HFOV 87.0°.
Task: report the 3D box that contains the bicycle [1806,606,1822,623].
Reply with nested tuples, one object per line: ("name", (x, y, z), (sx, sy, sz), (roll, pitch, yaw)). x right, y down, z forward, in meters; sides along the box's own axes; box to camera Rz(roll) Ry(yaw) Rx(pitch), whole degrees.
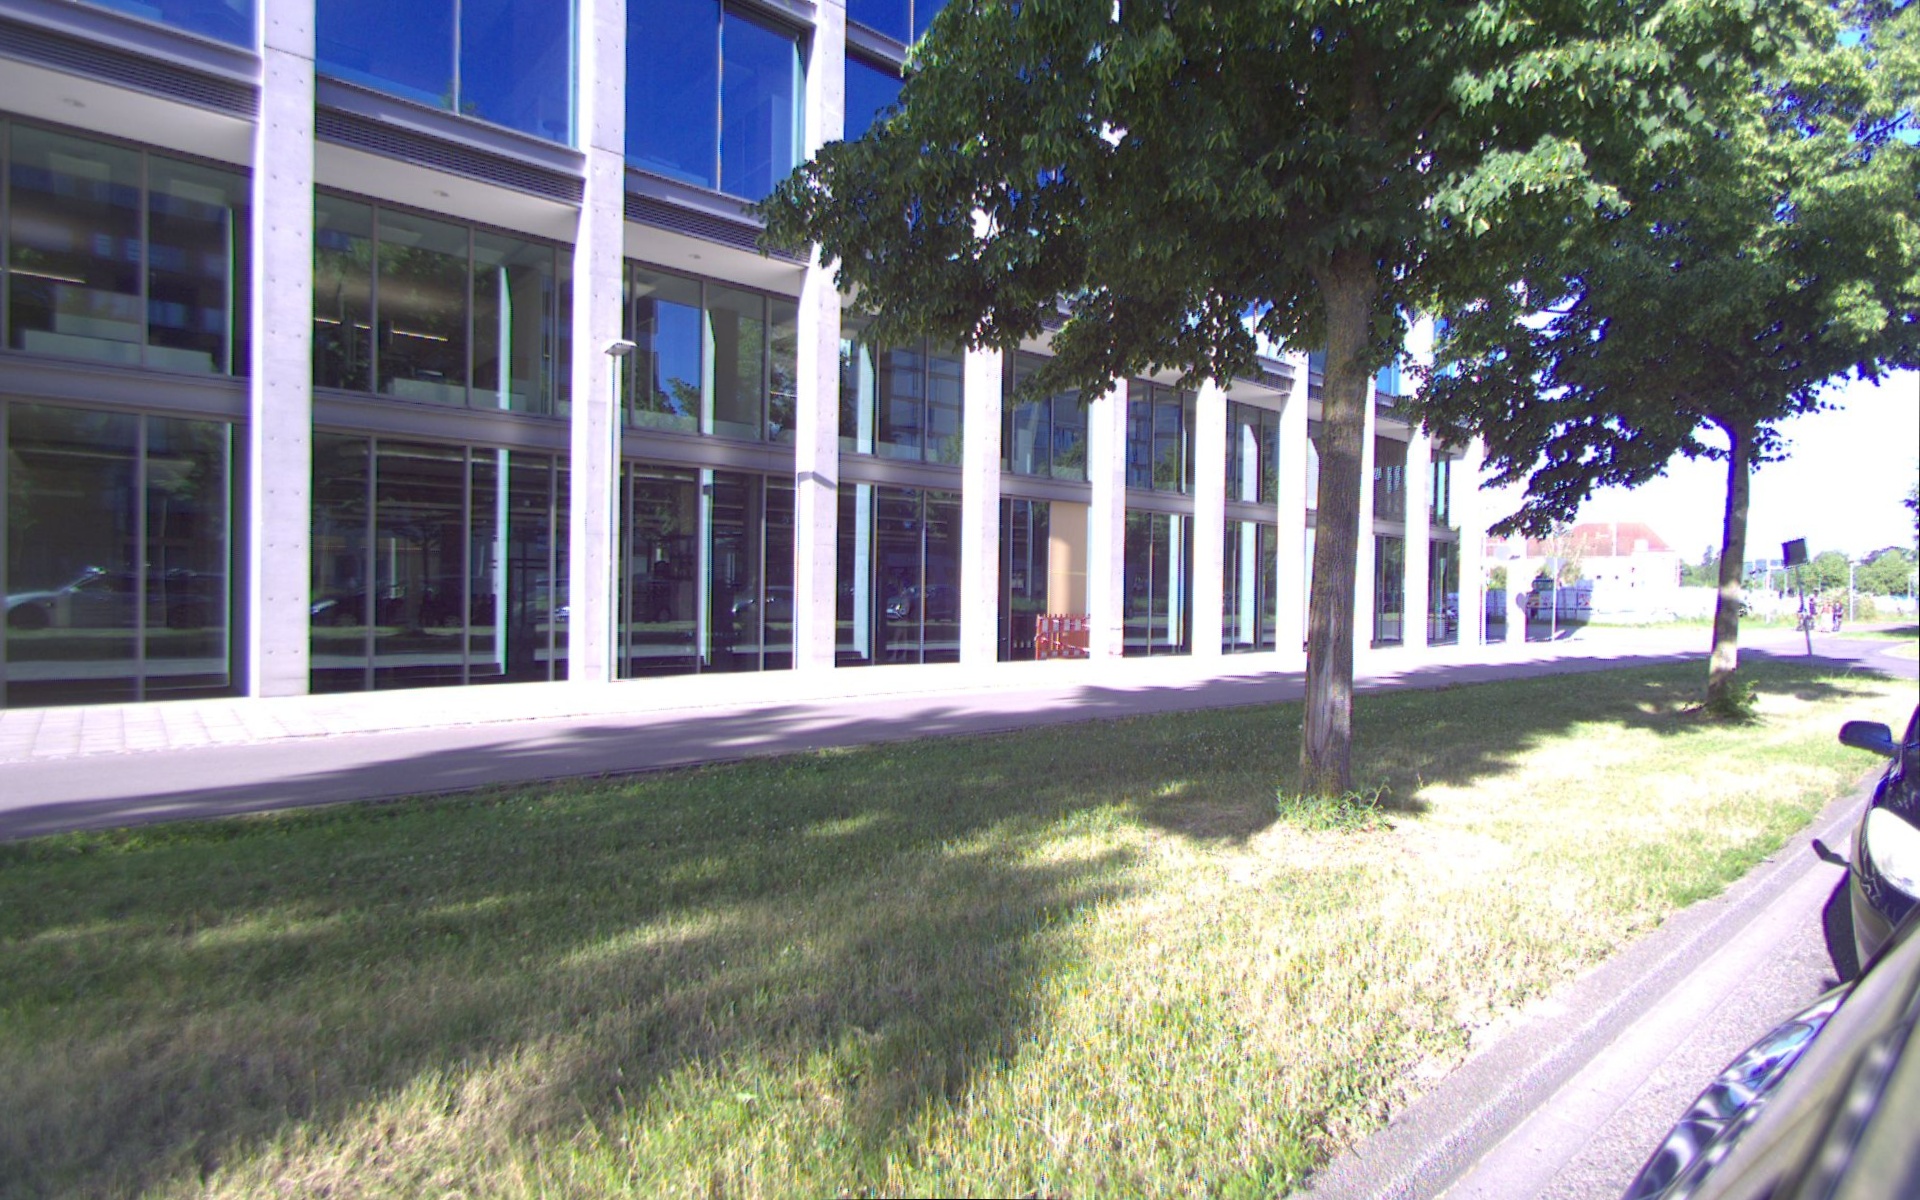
("bicycle", (44.429, 0.738, 52.655), (1.296, 0.828, 0.415), (-1, 0, -40))

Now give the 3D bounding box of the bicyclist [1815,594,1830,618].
("bicyclist", (47.335, 0.352, 55.541), (0.449, 1.305, 0.534), (0, 0, -40))

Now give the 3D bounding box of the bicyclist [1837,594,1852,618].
("bicyclist", (45.284, 0.310, 51.810), (0.498, 1.232, 0.534), (0, 0, -40))

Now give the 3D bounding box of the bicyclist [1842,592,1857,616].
("bicyclist", (48.159, 0.230, 54.765), (0.512, 1.305, 0.534), (0, 0, -40))

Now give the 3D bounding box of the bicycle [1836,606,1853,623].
("bicycle", (45.334, 0.741, 51.878), (1.321, 0.828, 0.464), (-1, 0, -40))

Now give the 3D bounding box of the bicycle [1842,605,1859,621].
("bicycle", (48.203, 0.709, 54.778), (1.321, 0.828, 0.464), (-1, 0, -40))

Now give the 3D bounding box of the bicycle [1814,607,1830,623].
("bicycle", (47.337, 0.828, 55.548), (1.321, 0.828, 0.464), (-1, 0, -40))

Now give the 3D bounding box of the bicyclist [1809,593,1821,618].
("bicyclist", (44.521, 0.269, 52.698), (0.410, 1.305, 0.448), (0, 0, -40))

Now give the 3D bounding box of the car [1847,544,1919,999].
("car", (5.079, 0.590, 4.141), (3.719, 1.541, 1.685), (0, 1, -41))
